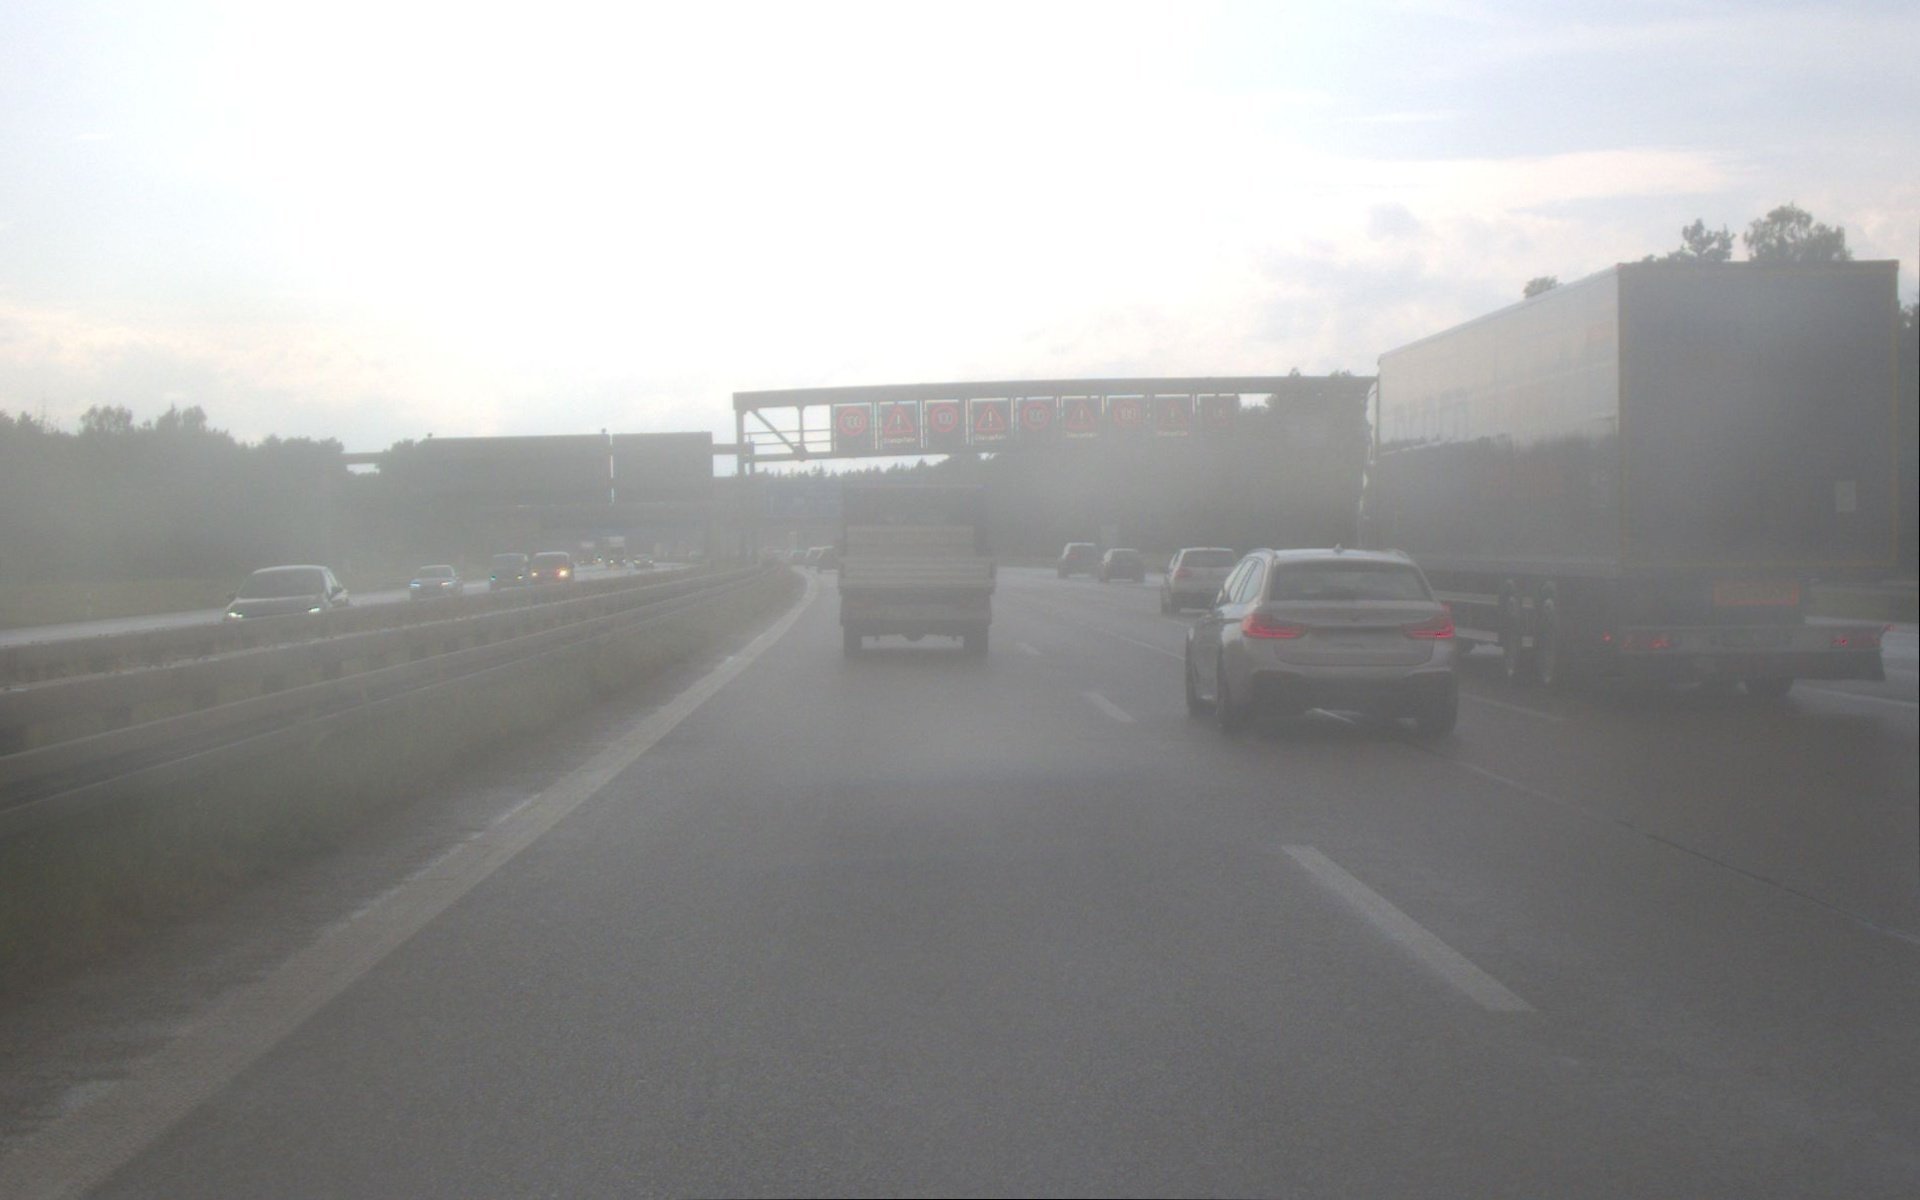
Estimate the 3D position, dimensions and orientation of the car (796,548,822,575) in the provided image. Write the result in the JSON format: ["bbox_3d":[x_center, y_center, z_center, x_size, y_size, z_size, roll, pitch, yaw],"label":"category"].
[{"bbox_3d":[-11.318,-2.886,257.403,1.794,2.007,4.000,1,1,0],"label":"car"}]

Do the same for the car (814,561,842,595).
[{"bbox_3d":[-8.095,-1.389,211.107,1.617,2.007,4.001,1,1,-2],"label":"car"}]

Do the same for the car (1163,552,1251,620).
[{"bbox_3d":[5.498,-0.327,76.924,1.831,1.461,4.000,0,1,2],"label":"car"}]

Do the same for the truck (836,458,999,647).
[{"bbox_3d":[-0.530,-0.678,47.846,2.137,2.480,5.313,0,1,1],"label":"truck"}]

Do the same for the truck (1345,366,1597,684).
[{"bbox_3d":[6.510,-0.947,44.452,2.293,3.854,5.393,0,1,-2],"label":"truck"}]

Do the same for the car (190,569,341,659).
[{"bbox_3d":[-11.694,0.204,58.096,1.874,1.426,4.000,-1,1,-2],"label":"car"}]

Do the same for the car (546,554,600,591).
[{"bbox_3d":[-16.962,-1.217,150.806,1.993,1.604,4.609,0,1,-1],"label":"car"}]

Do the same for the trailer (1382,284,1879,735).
[{"bbox_3d":[6.760,-0.902,37.143,2.323,3.988,13.413,0,1,-2],"label":"trailer"}]

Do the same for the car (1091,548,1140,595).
[{"bbox_3d":[6.781,-1.253,150.027,1.993,2.007,4.000,1,1,1],"label":"car"}]

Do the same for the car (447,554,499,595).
[{"bbox_3d":[-24.535,-1.306,173.278,1.993,1.910,4.724,-3,1,-2],"label":"car"}]

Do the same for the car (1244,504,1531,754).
[{"bbox_3d":[3.427,0.167,28.424,2.078,1.878,5.011,0,1,4],"label":"car"}]

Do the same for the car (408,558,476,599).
[{"bbox_3d":[-20.077,-0.855,133.446,1.993,1.495,4.609,-2,1,-1],"label":"car"}]

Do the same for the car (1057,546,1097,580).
[{"bbox_3d":[5.882,-1.882,173.302,1.740,1.683,4.000,0,1,-2],"label":"car"}]
